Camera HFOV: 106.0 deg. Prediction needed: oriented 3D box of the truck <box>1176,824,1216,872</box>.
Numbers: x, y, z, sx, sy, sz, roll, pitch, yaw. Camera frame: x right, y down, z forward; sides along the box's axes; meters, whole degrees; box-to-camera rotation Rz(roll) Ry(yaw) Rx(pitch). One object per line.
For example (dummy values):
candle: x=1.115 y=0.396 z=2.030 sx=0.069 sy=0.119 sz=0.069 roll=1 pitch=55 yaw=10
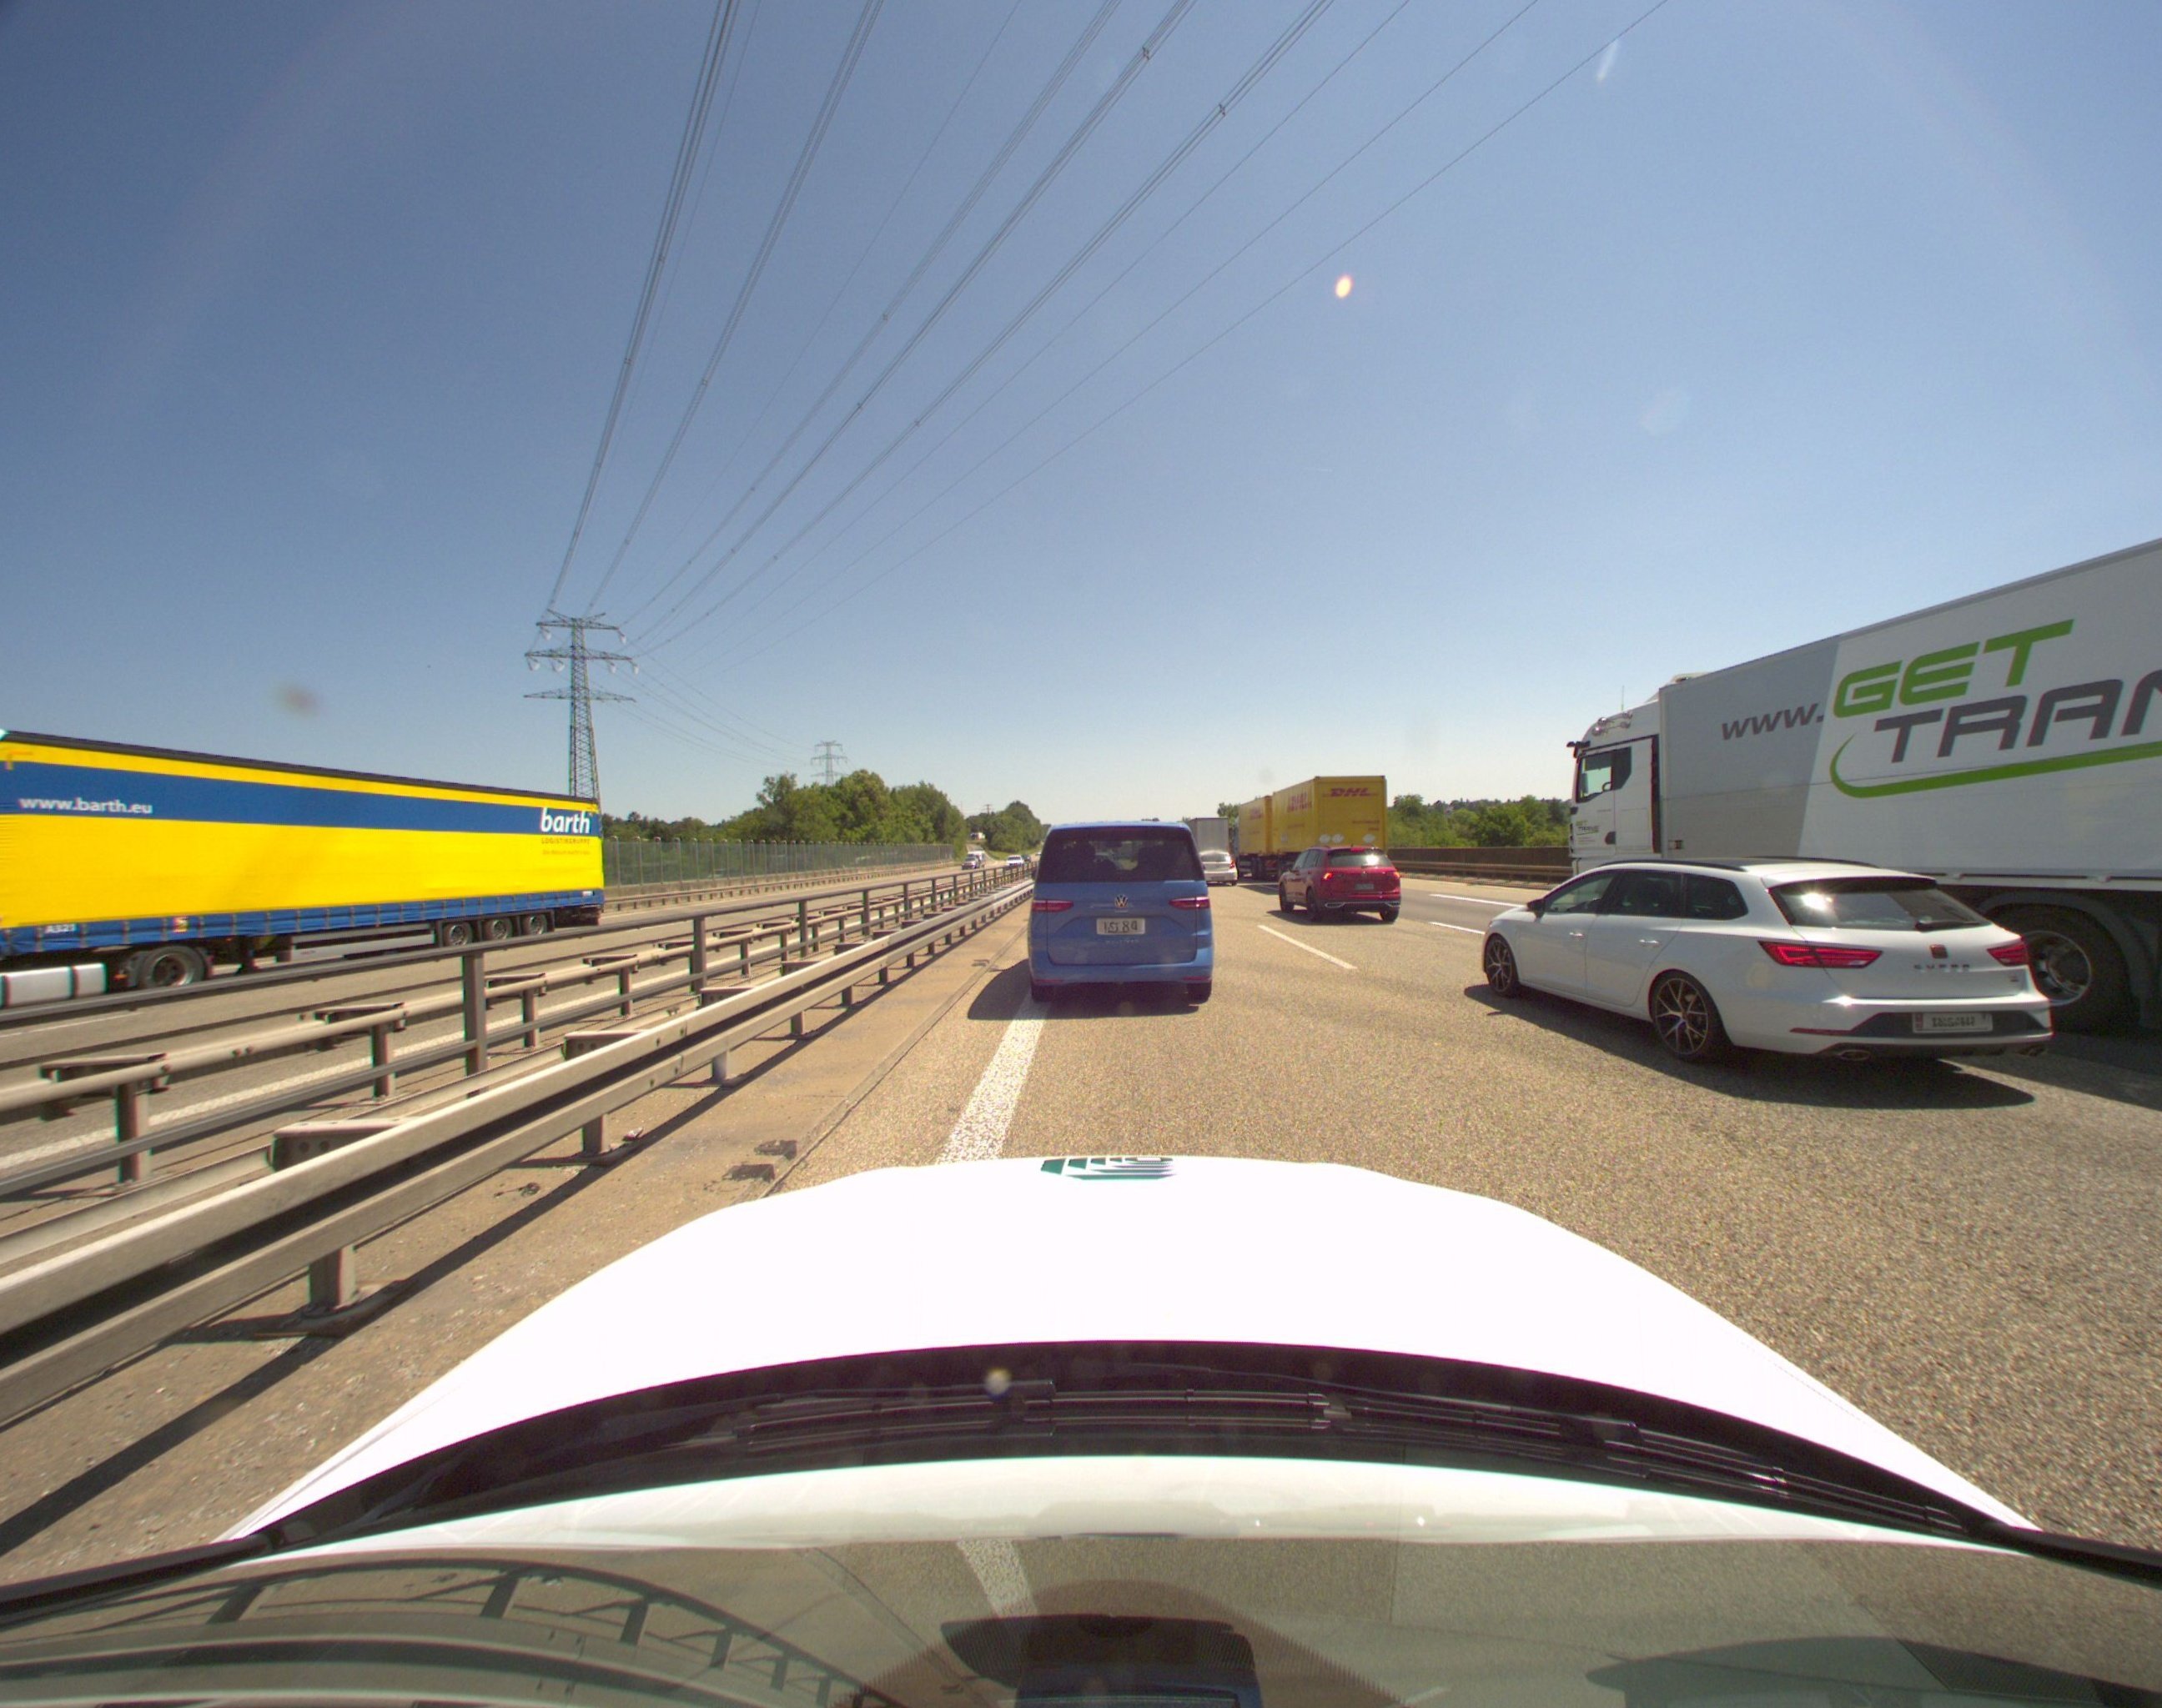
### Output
truck: x=10.364 y=-0.489 z=73.984 sx=2.758 sy=4.095 sz=6.987 roll=0 pitch=0 yaw=2

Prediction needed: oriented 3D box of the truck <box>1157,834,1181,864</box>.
truck: x=11.106 y=-0.563 z=103.206 sx=2.359 sy=3.722 sz=6.034 roll=0 pitch=-1 yaw=1

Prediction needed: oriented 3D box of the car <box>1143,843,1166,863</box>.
car: x=6.299 y=-0.066 z=69.961 sx=1.709 sy=1.540 sz=3.821 roll=-1 pitch=-2 yaw=1

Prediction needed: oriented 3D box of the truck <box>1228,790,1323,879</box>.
truck: x=9.815 y=-0.847 z=42.412 sx=2.712 sy=4.054 sz=10.338 roll=0 pitch=-1 yaw=1

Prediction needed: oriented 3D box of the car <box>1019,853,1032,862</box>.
car: x=-9.438 y=0.603 z=138.957 sx=1.849 sy=1.397 sz=4.678 roll=-1 pitch=2 yaw=2

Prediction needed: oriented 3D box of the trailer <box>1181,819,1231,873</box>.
trailer: x=10.187 y=-0.561 z=67.486 sx=2.745 sy=4.146 sz=11.315 roll=0 pitch=-1 yaw=2

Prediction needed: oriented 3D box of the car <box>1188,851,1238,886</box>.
car: x=5.803 y=0.600 z=36.138 sx=1.830 sy=1.414 sz=4.005 roll=-1 pitch=0 yaw=4

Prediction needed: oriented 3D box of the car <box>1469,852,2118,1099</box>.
car: x=5.105 y=0.697 z=6.790 sx=1.775 sy=1.387 sz=4.188 roll=-1 pitch=0 yaw=1

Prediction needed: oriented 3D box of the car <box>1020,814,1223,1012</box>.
car: x=0.437 y=0.555 z=9.702 sx=1.875 sy=1.837 sz=4.001 roll=-1 pitch=0 yaw=1

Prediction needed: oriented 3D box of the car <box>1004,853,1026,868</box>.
car: x=-6.791 y=0.668 z=83.689 sx=1.751 sy=1.449 sz=4.287 roll=-3 pitch=0 yaw=1

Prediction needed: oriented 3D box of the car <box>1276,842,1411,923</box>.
car: x=5.775 y=0.569 z=18.431 sx=1.844 sy=1.608 sz=4.001 roll=-1 pitch=0 yaw=1

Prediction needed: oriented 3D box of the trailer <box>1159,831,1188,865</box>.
trailer: x=11.015 y=-0.623 z=97.579 sx=2.371 sy=3.744 sz=11.189 roll=0 pitch=0 yaw=1

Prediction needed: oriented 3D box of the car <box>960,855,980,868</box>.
car: x=-14.258 y=0.943 z=105.056 sx=1.850 sy=1.545 sz=4.201 roll=-4 pitch=-1 yaw=1

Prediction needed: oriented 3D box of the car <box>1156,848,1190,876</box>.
car: x=5.530 y=0.509 z=49.529 sx=1.709 sy=1.587 sz=3.822 roll=-1 pitch=-1 yaw=1

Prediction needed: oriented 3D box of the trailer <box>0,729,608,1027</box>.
trailer: x=-15.837 y=0.355 z=17.907 sx=2.414 sy=4.063 sz=13.804 roll=-3 pitch=0 yaw=1

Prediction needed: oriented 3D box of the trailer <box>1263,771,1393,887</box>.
trailer: x=9.576 y=-0.841 z=32.759 sx=2.691 sy=4.023 sz=8.932 roll=0 pitch=-1 yaw=1

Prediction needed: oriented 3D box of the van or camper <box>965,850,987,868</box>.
van or camper: x=-14.177 y=0.720 z=109.955 sx=1.987 sy=2.211 sz=5.537 roll=-4 pitch=-1 yaw=1

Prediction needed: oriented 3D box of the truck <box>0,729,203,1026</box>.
truck: x=-15.976 y=0.370 z=10.812 sx=2.406 sy=4.058 sz=5.544 roll=-3 pitch=-1 yaw=1

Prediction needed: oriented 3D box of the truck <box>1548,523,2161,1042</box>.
truck: x=8.953 y=-0.516 z=7.854 sx=2.841 sy=3.602 sz=10.770 roll=0 pitch=0 yaw=1

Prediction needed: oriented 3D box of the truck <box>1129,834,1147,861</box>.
truck: x=11.337 y=-1.199 z=162.535 sx=2.824 sy=5.040 sz=11.144 roll=0 pitch=-1 yaw=0
